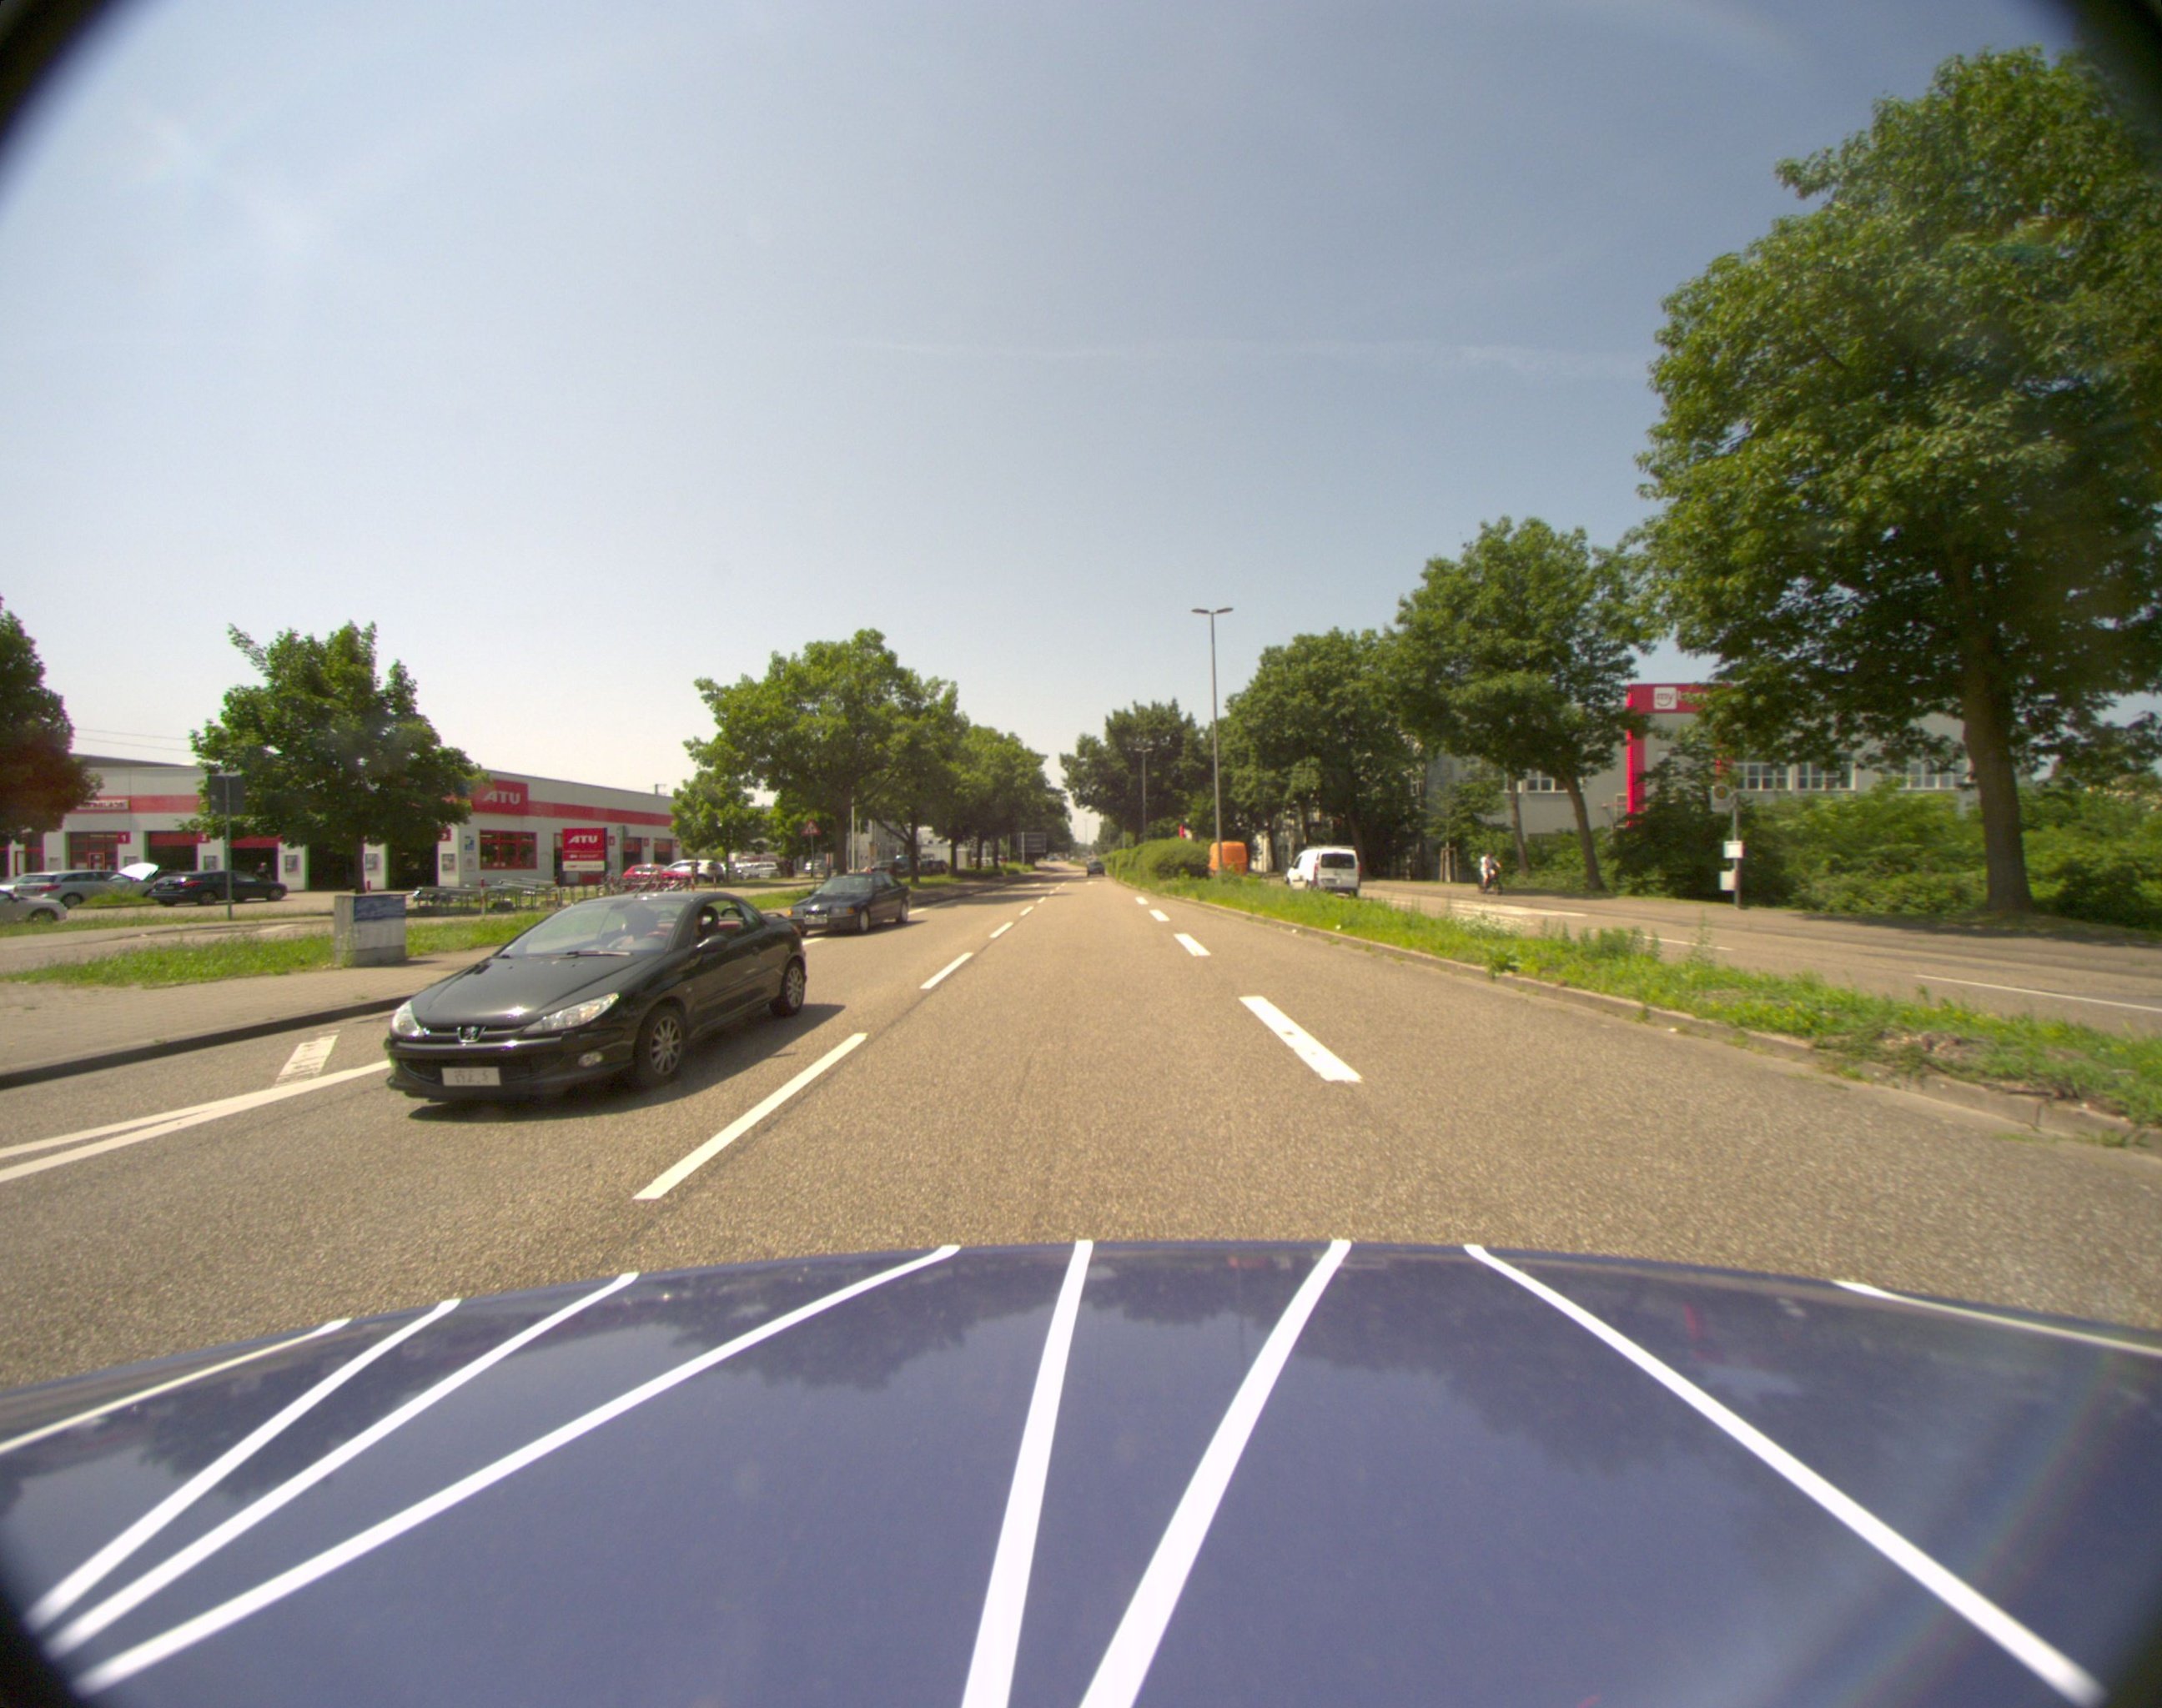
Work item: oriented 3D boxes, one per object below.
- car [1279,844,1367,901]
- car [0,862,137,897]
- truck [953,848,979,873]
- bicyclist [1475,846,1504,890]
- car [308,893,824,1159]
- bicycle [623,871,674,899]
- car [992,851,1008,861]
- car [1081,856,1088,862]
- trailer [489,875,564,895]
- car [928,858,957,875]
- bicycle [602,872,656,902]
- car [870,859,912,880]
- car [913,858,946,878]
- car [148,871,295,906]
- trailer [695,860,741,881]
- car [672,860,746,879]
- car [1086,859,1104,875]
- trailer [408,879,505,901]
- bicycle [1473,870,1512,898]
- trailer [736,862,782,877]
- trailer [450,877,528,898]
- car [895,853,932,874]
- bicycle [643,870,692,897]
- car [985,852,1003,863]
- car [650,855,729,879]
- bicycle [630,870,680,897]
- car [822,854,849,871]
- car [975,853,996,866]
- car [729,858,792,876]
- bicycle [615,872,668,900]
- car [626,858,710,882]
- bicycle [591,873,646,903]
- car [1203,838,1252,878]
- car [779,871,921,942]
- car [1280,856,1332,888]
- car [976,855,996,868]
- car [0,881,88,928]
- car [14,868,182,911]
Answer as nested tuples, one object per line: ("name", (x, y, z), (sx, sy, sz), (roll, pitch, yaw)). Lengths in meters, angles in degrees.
("car", (8.942, 0.636, 28.523), (1.856, 1.894, 4.426), (2, 0, 0))
("car", (-44.288, 1.070, 32.936), (1.726, 1.364, 4.000), (0, 0, 1))
("truck", (-11.925, 0.655, 79.073), (1.904, 2.552, 4.001), (0, 0, 3))
("bicyclist", (15.567, 0.526, 28.964), (0.609, 1.621, 0.923), (0, 1, 2))
("car", (-3.773, 1.140, 6.566), (1.642, 1.336, 4.000), (-2, 0, 1))
("bicycle", (-17.931, 1.269, 31.507), (1.784, 1.117, 0.514), (0, 0, -5))
("car", (-11.156, 0.274, 105.157), (1.719, 1.458, 4.001), (0, 0, 2))
("car", (1.130, 1.551, 221.877), (1.998, 1.692, 4.000), (0, 0, 1))
("trailer", (-23.316, 1.300, 31.969), (2.137, 0.757, 1.394), (-1, 0, 3))
("car", (-12.263, 1.092, 67.382), (1.719, 1.504, 4.001), (0, 0, 2))
("bicycle", (-17.873, 1.303, 30.081), (1.784, 1.117, 0.514), (0, 0, -5))
("car", (-12.434, 0.992, 49.954), (1.642, 1.363, 4.001), (0, 0, 2))
("car", (-12.198, 1.112, 61.430), (1.719, 1.511, 4.001), (0, 0, 2))
("car", (-37.508, 1.464, 33.341), (1.717, 1.364, 4.145), (0, 0, 1))
("trailer", (-26.177, 1.172, 54.785), (2.642, 1.518, 1.415), (0, 0, -1))
("car", (-24.318, 1.000, 49.754), (3.998, 1.201, 1.747), (0, 0, -2))
("car", (1.252, 1.137, 69.388), (1.642, 1.395, 4.000), (0, 0, 1))
("trailer", (-23.403, 1.350, 28.522), (2.466, 0.757, 1.449), (-1, 0, 3))
("bicycle", (15.556, 1.119, 28.750), (0.618, 0.963, 1.660), (0, 0, 2))
("trailer", (-23.206, 1.110, 54.763), (2.642, 1.046, 1.578), (0, 0, -1))
("trailer", (-23.468, 1.332, 30.151), (2.137, 0.757, 1.267), (-1, 0, 3))
("car", (-12.357, 0.701, 56.111), (1.719, 1.458, 4.001), (0, 0, 2))
("bicycle", (-17.866, 1.281, 32.823), (1.784, 1.117, 0.514), (0, 0, -5))
("car", (-11.344, 0.485, 99.208), (1.719, 1.458, 4.001), (0, 0, 2))
("car", (-24.339, 0.799, 47.378), (3.998, 1.394, 1.747), (0, 0, -2))
("bicycle", (-17.973, 1.237, 32.089), (1.784, 1.117, 0.514), (0, 0, -5))
("car", (-24.375, 0.846, 75.642), (1.759, 1.586, 3.998), (0, 0, -6))
("car", (-10.669, 0.613, 84.832), (1.719, 1.458, 4.001), (0, 0, 2))
("car", (-23.957, 0.930, 56.906), (3.998, 1.293, 1.689), (0, 0, -2))
("bicycle", (-17.848, 1.288, 30.881), (1.784, 1.117, 0.514), (0, 0, -5))
("car", (-24.449, 0.932, 45.104), (3.997, 1.394, 1.747), (0, 0, -1))
("bicycle", (-17.926, 1.297, 29.472), (1.784, 1.117, 0.514), (0, 0, -5))
("car", (9.963, 0.247, 52.221), (2.271, 2.552, 6.058), (1, 0, 1))
("car", (-5.401, 1.178, 18.373), (1.641, 1.363, 4.148), (-2, 0, 8))
("car", (12.629, 0.973, 42.860), (1.720, 1.594, 4.213), (2, 0, 1))
("car", (-11.388, 0.872, 91.499), (1.719, 1.458, 4.001), (0, 0, 2))
("car", (-32.015, 1.487, 21.847), (1.652, 1.305, 3.973), (0, 0, 1))
("car", (-41.622, 1.453, 32.352), (1.717, 1.653, 4.145), (0, 0, 1))
